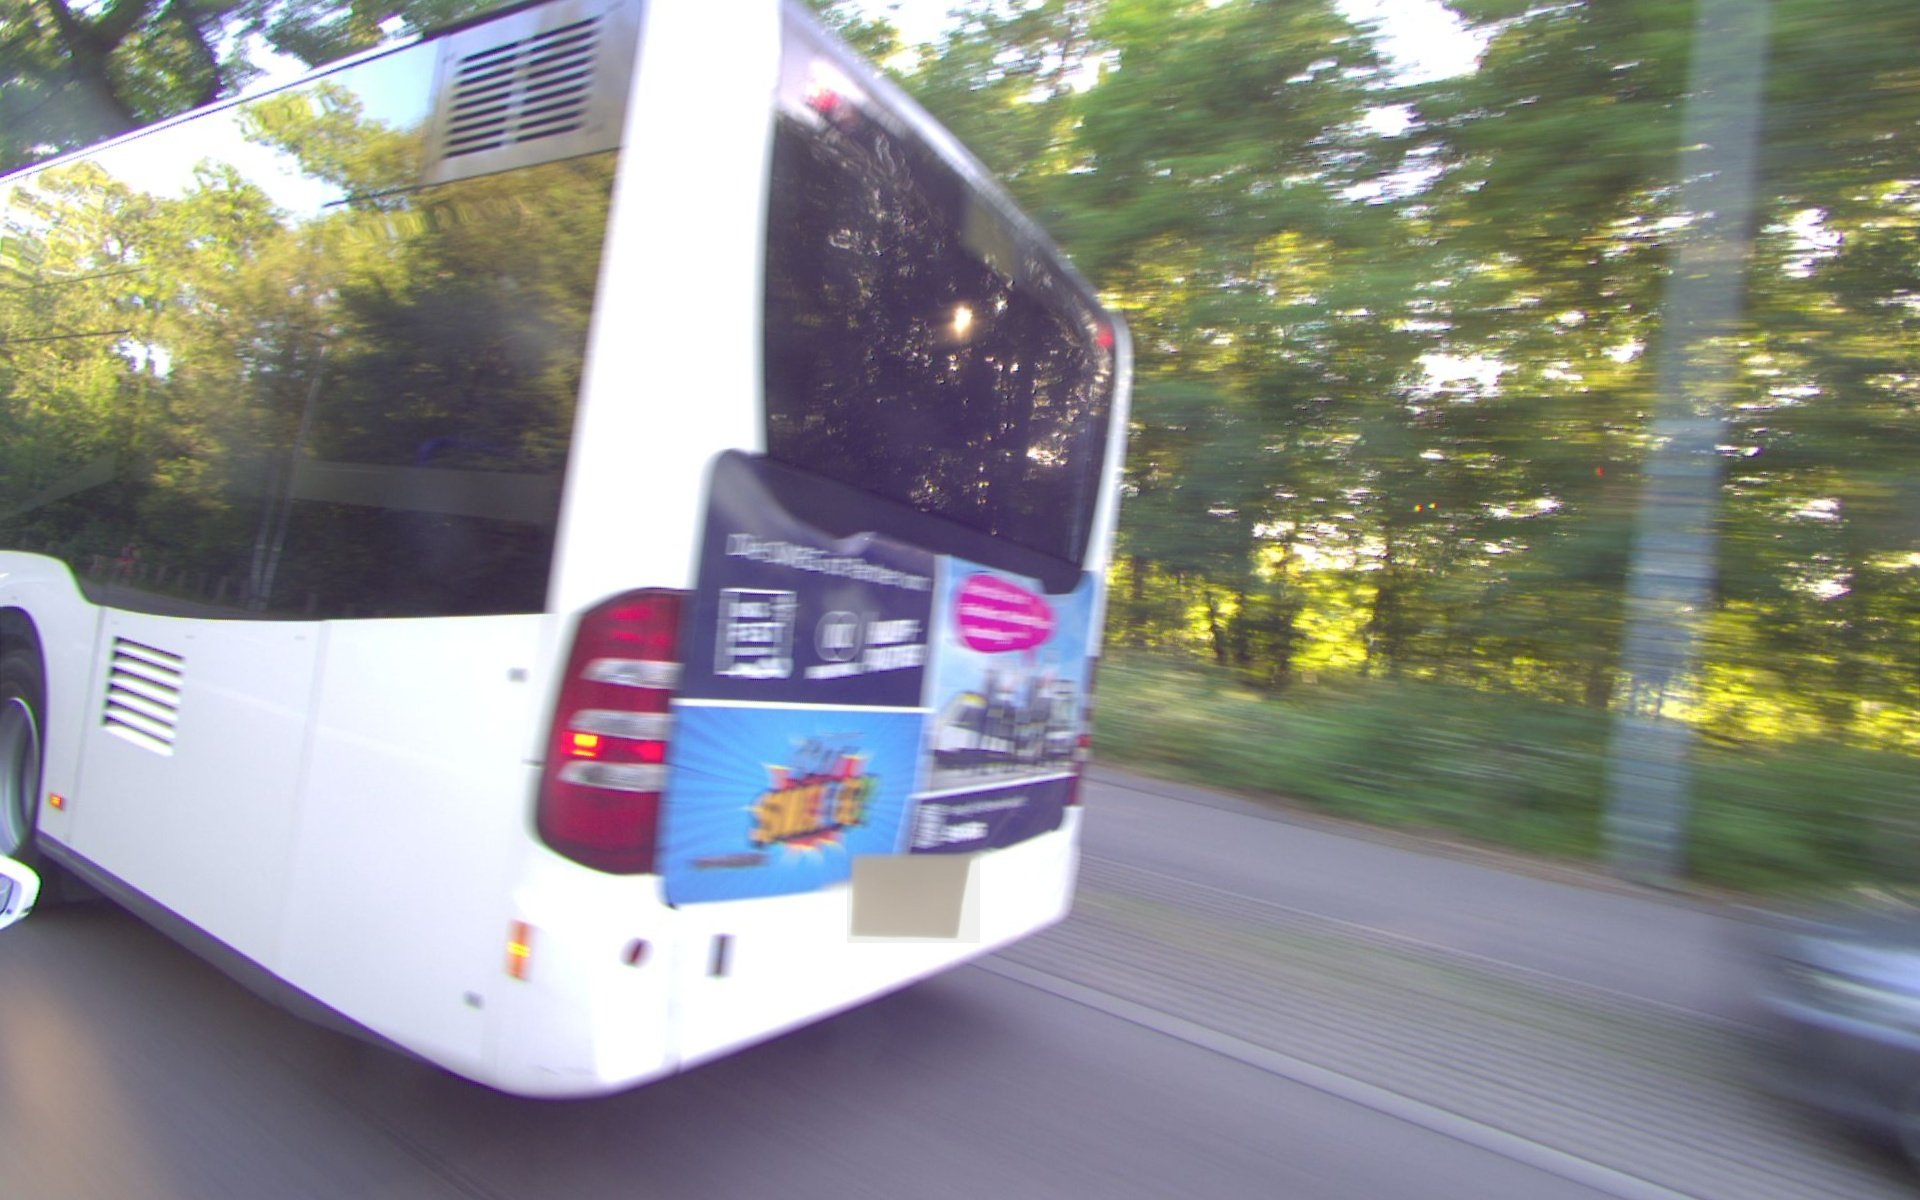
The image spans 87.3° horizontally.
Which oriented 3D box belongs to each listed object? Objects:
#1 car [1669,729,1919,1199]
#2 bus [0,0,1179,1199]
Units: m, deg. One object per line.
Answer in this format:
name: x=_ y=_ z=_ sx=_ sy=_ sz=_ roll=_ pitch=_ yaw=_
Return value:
car: x=5.118 y=1.539 z=3.192 sx=4.447 sy=1.410 sz=1.853 roll=7 pitch=2 yaw=32
bus: x=-5.093 y=-0.587 z=6.119 sx=12.074 sy=3.260 sz=2.709 roll=6 pitch=-1 yaw=31
